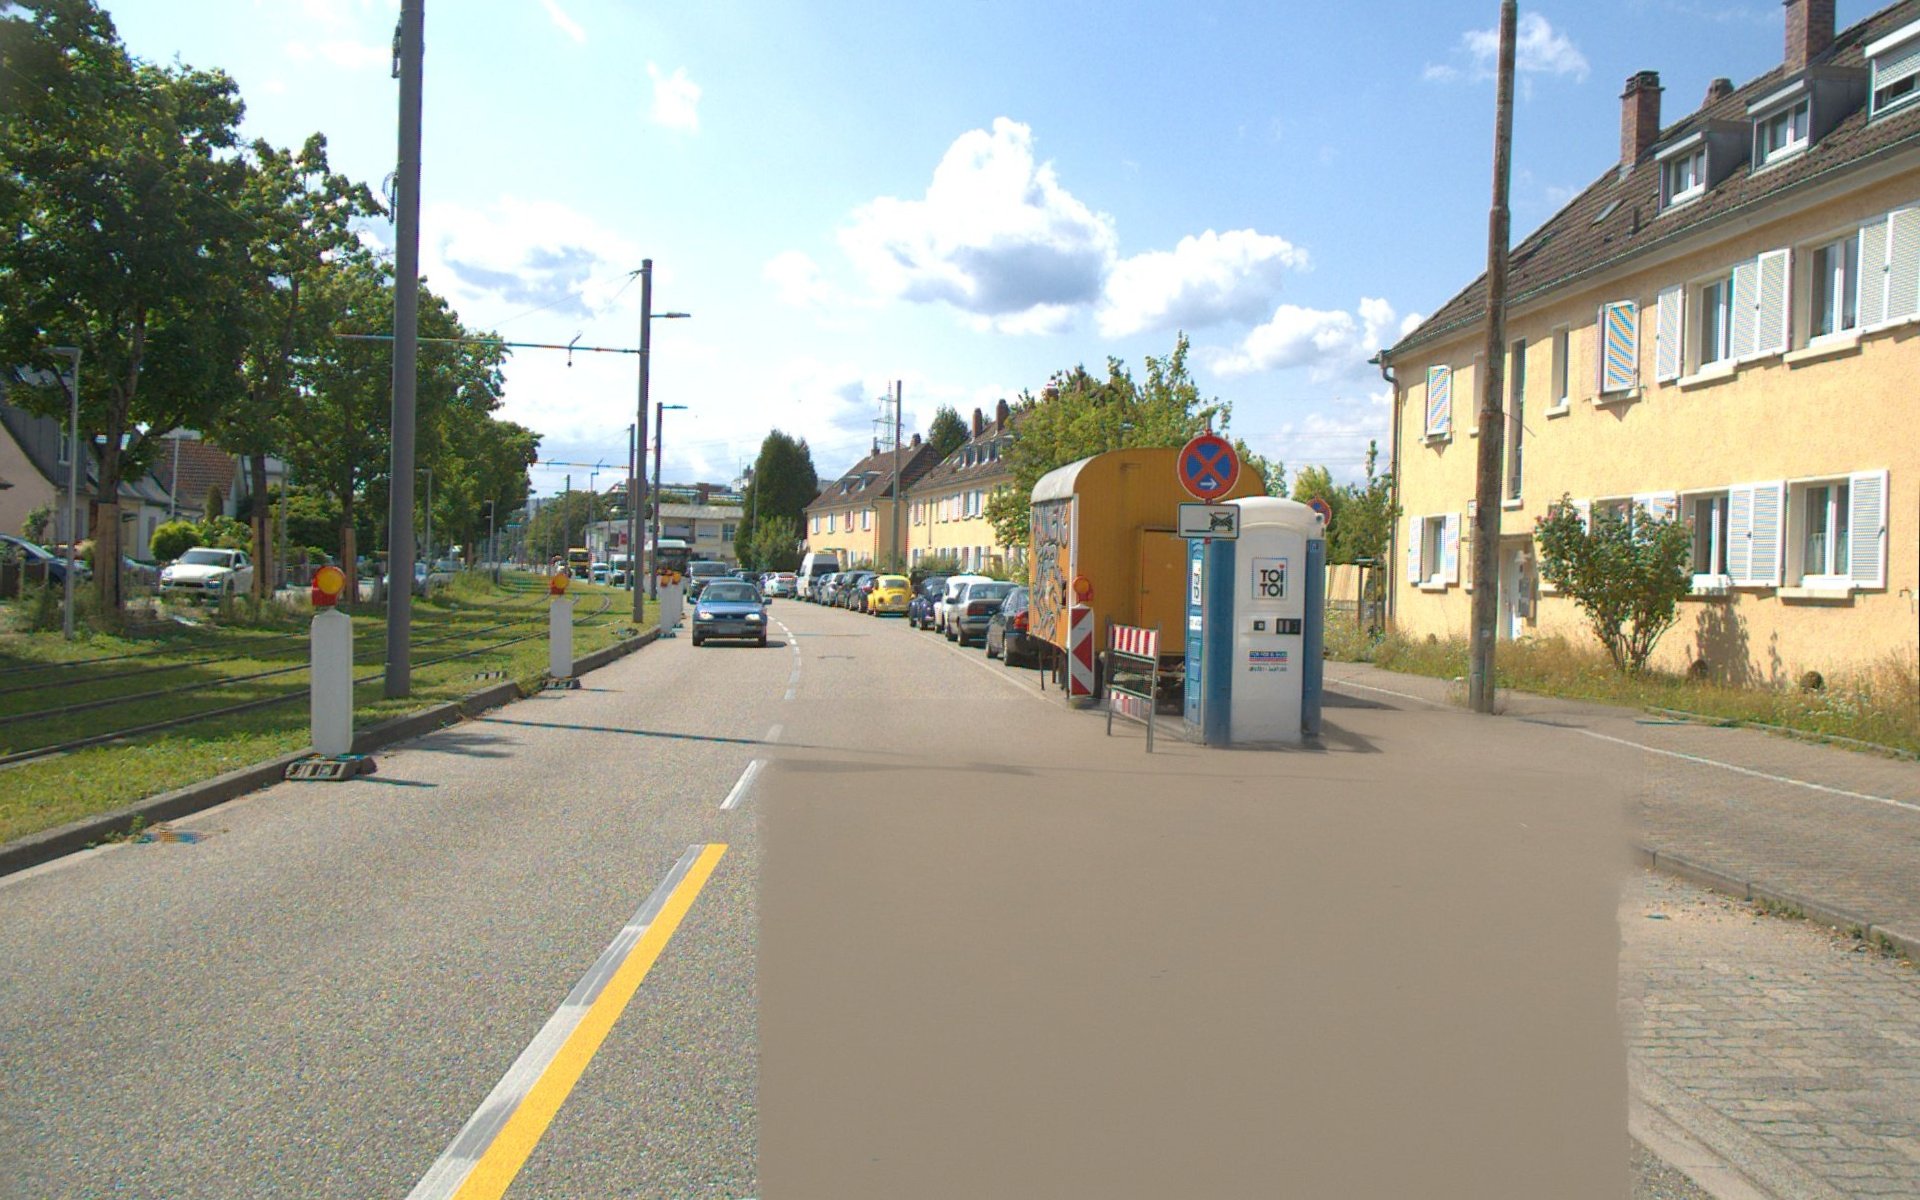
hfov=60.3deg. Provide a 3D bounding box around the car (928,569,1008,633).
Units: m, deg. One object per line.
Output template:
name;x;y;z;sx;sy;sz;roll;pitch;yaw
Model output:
car;0.163;-0.001;43.160;1.547;1.539;4.454;2;1;-6

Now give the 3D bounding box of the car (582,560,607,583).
car;-30.897;-2.407;139.631;1.707;1.804;4.289;2;1;-17

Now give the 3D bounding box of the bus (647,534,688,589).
bus;-19.531;-2.566;110.391;2.588;3.472;12.219;0;1;-10

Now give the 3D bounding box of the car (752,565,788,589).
car;-11.780;-1.461;102.573;1.595;1.441;3.983;0;1;-16

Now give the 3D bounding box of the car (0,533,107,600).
car;-27.950;-1.020;48.900;4.391;1.868;2.059;2;1;-12

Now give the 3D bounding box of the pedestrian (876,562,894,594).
pedestrian;-4.041;-1.207;88.995;0.838;1.680;0.635;2;1;-12

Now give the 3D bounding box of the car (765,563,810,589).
car;-10.153;-1.430;97.311;1.770;1.483;4.743;0;1;-17

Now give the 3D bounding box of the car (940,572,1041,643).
car;0.628;0.122;38.090;1.674;1.474;4.829;2;1;-6

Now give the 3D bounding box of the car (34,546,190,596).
car;-29.269;-1.001;57.193;4.391;1.550;1.920;2;1;-12

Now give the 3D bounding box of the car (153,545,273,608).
car;-23.102;-0.735;51.359;1.845;1.799;5.077;2;1;-6

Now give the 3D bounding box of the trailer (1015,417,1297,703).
trailer;2.399;-0.495;21.984;2.638;3.283;5.076;2;1;-5

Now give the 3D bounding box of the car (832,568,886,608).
car;-4.368;-0.539;71.075;1.608;1.630;3.918;2;1;-14

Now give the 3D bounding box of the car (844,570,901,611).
car;-3.497;-0.394;65.582;1.607;1.508;4.113;2;1;-12

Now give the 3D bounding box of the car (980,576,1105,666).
car;1.426;0.320;30.255;1.547;1.474;4.447;2;1;-6

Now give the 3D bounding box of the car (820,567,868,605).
car;-5.287;-0.655;74.826;1.607;1.630;4.018;2;1;-12

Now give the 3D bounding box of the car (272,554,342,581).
car;-40.585;-2.034;102.871;3.927;1.598;1.785;1;1;-19

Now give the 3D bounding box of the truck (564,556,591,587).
truck;-44.512;-3.303;192.496;2.519;3.519;7.115;0;1;-17

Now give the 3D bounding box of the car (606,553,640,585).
car;-27.294;-2.495;133.828;2.070;2.486;5.544;2;1;-18

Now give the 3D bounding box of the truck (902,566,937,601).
truck;-2.054;-0.821;83.632;1.322;1.718;2.434;1;0;-12

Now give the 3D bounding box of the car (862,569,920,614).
car;-2.559;-0.343;60.642;1.606;1.508;3.923;-1;2;-10

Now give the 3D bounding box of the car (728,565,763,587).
car;-14.409;-1.646;111.125;1.735;1.441;3.983;0;1;-16

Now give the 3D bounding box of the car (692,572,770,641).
car;-5.172;0.103;37.700;1.633;1.474;3.954;-1;1;-6

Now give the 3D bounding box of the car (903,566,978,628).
car;-0.620;-0.117;48.234;1.520;1.669;4.237;2;1;-9

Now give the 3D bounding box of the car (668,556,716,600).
car;-12.700;-1.047;78.641;1.918;2.000;5.286;1;1;-6

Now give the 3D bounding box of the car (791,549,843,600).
car;-7.379;-1.332;84.888;1.896;2.524;5.500;1;1;-13
